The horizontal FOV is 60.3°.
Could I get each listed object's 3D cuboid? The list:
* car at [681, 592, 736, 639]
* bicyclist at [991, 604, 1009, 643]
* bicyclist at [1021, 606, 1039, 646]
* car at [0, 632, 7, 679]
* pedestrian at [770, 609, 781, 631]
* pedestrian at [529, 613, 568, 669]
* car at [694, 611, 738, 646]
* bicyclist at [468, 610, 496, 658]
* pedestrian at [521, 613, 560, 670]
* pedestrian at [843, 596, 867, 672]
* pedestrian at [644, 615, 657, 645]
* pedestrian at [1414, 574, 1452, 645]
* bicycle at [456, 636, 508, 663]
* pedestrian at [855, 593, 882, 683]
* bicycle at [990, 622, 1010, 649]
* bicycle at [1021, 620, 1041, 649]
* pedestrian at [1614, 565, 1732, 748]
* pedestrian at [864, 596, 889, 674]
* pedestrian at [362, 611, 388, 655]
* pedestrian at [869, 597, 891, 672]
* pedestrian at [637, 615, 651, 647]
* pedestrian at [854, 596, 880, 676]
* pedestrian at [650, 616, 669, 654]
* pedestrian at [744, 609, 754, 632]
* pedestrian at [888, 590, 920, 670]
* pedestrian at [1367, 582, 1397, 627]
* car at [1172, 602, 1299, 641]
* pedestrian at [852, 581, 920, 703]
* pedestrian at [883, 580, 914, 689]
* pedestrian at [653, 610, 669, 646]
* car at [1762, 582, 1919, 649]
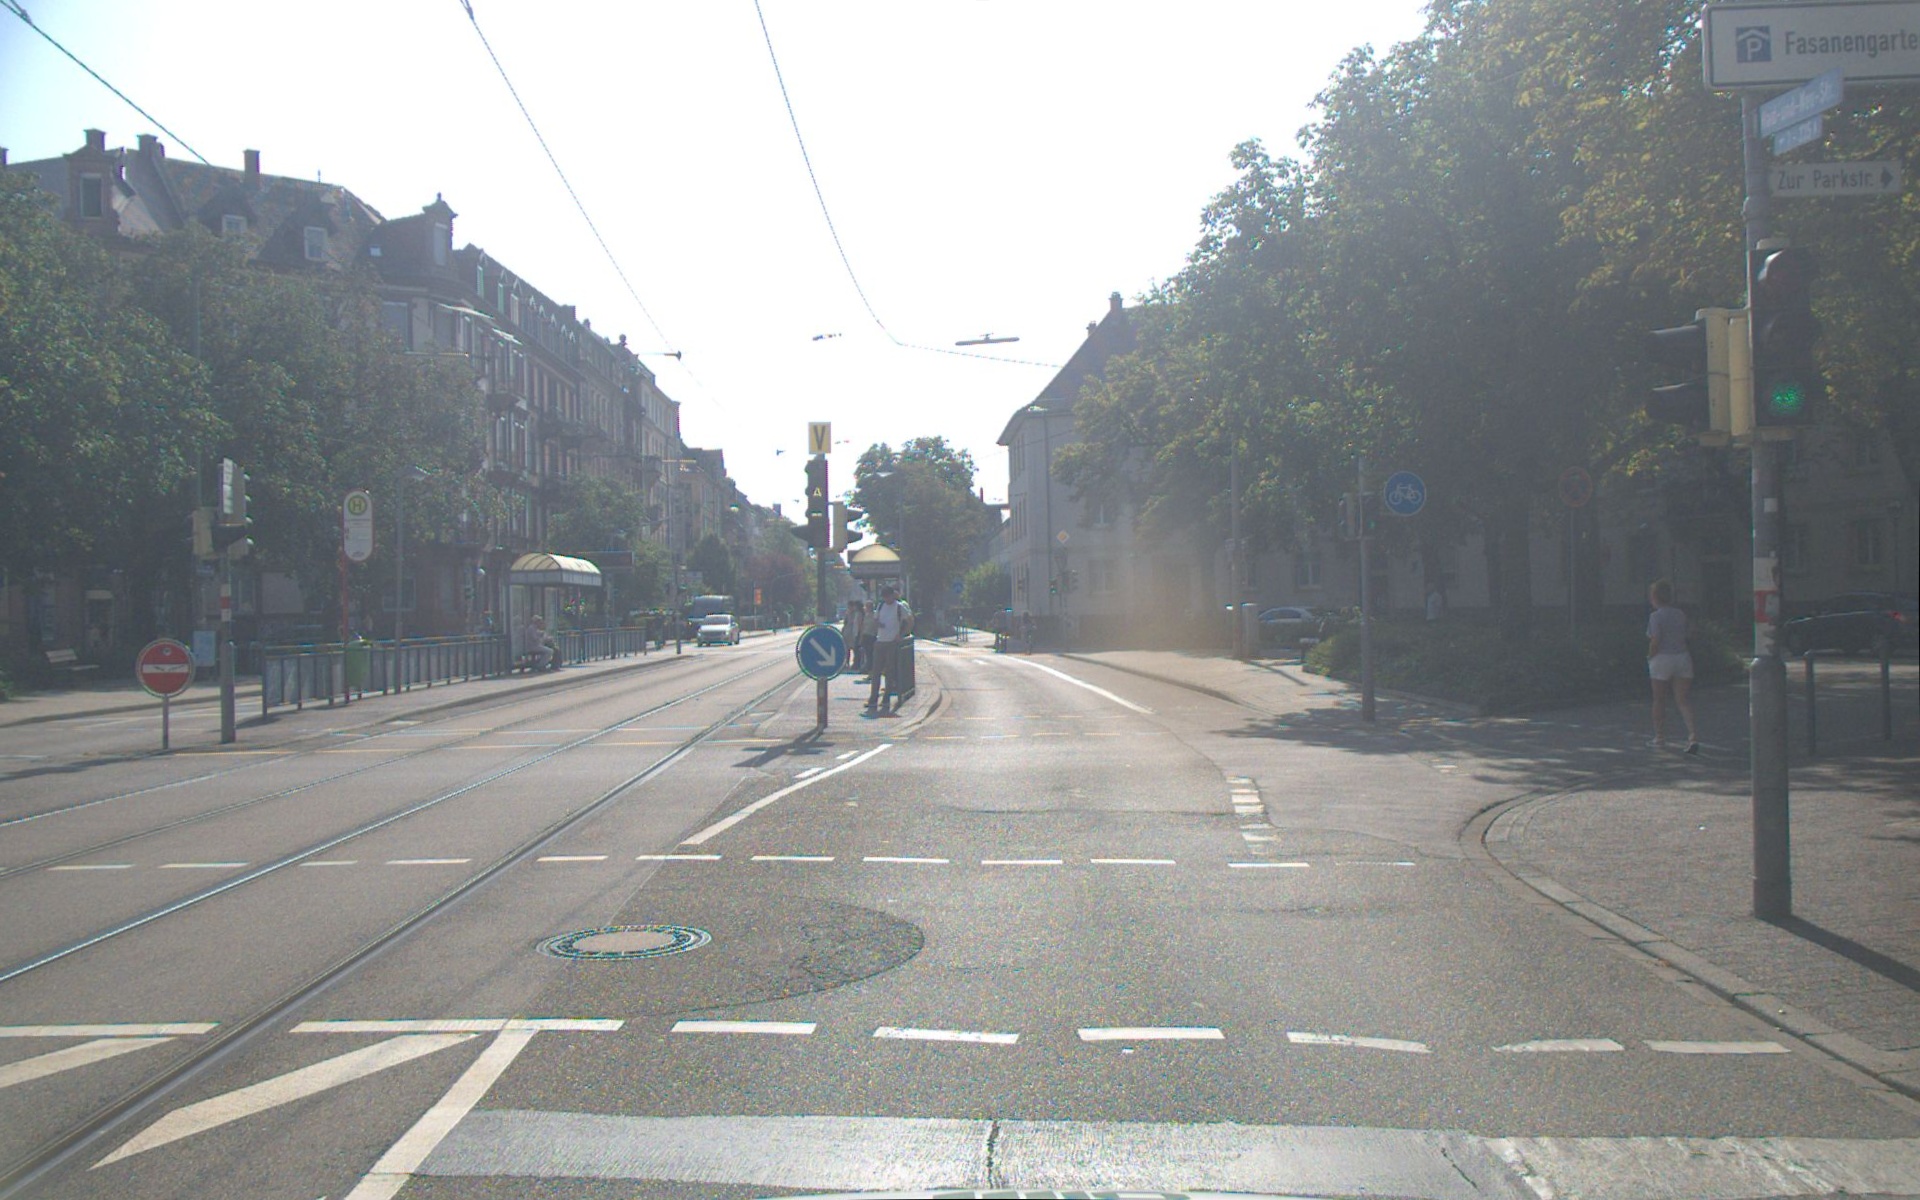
[{"bbox_3d":[-15.210,0.935,100.260,2.298,2.708,5.106,-1,0,2],"label":"car"},{"bbox_3d":[1.575,0.919,65.526,0.616,1.534,0.678,-1,0,-4],"label":"bicyclist"},{"bbox_3d":[2.582,0.948,60.825,0.547,1.441,0.871,-1,0,-3],"label":"bicyclist"},{"bbox_3d":[-34.801,1.928,55.921,4.230,1.596,2.002,-2,0,13],"label":"car"},{"bbox_3d":[-14.536,1.580,130.398,0.736,1.761,0.769,-1,-1,-11],"label":"pedestrian"},{"bbox_3d":[-10.436,1.022,41.960,0.812,1.382,0.775,-1,-1,-6],"label":"pedestrian"},{"bbox_3d":[-12.489,1.436,84.841,1.765,1.682,3.641,-1,0,-1],"label":"car"},{"bbox_3d":[-19.069,1.350,66.019,0.975,1.890,0.488,-1,-1,-29],"label":"bicyclist"},{"bbox_3d":[-10.381,1.013,40.984,0.812,1.382,0.775,-1,-1,-6],"label":"pedestrian"},{"bbox_3d":[-2.524,0.824,39.810,0.521,1.790,0.545,1,2,-1],"label":"pedestrian"},{"bbox_3d":[-17.957,1.739,95.986,0.736,1.761,0.769,-1,-1,-11],"label":"pedestrian"},{"bbox_3d":[12.078,0.250,42.205,0.872,1.771,0.776,-2,-1,18],"label":"pedestrian"},{"bbox_3d":[-19.079,1.966,66.002,1.915,0.995,0.492,-1,-1,-29],"label":"bicycle"},{"bbox_3d":[-1.855,0.766,33.594,0.494,1.790,0.534,1,2,-2],"label":"pedestrian"},{"bbox_3d":[1.581,1.393,65.524,0.616,0.995,1.769,-1,0,-3],"label":"bicycle"},{"bbox_3d":[2.597,1.261,60.809,0.547,0.995,1.855,-1,0,-3],"label":"bicycle"},{"bbox_3d":[7.100,0.553,16.494,0.736,1.761,0.769,-1,-1,-11],"label":"pedestrian"},{"bbox_3d":[-1.932,0.809,38.409,0.532,1.790,0.534,1,2,-2],"label":"pedestrian"},{"bbox_3d":[-24.172,1.359,68.330,0.764,1.761,0.741,-1,-1,-40],"label":"pedestrian"},{"bbox_3d":[-1.942,0.830,40.408,0.494,1.790,0.534,1,2,-2],"label":"pedestrian"},{"bbox_3d":[-17.753,1.732,92.845,0.736,1.761,0.769,-1,-1,-11],"label":"pedestrian"},{"bbox_3d":[-2.114,0.809,37.595,0.532,1.790,0.534,1,2,-2],"label":"pedestrian"},{"bbox_3d":[-14.345,1.676,79.071,0.734,1.761,0.771,-1,-1,0],"label":"pedestrian"},{"bbox_3d":[-16.576,1.590,129.850,0.736,1.761,0.769,-1,-1,-11],"label":"pedestrian"},{"bbox_3d":[-1.274,0.676,37.810,0.694,1.790,0.534,1,2,-2],"label":"pedestrian"},{"bbox_3d":[17.196,0.186,67.374,0.878,1.771,0.771,-2,-1,43],"label":"pedestrian"},{"bbox_3d":[10.243,0.815,61.607,4.251,1.343,1.992,-2,-1,37],"label":"car"},{"bbox_3d":[-1.103,0.611,24.648,0.687,1.755,0.746,2,2,31],"label":"pedestrian"},{"bbox_3d":[-1.072,0.594,28.916,0.494,1.866,0.534,1,2,-2],"label":"pedestrian"},{"bbox_3d":[-14.934,1.381,82.618,0.736,1.761,0.769,-1,-1,-11],"label":"pedestrian"},{"bbox_3d":[20.570,0.339,37.687,1.827,1.443,3.975,-1,0,-20],"label":"car"}]
